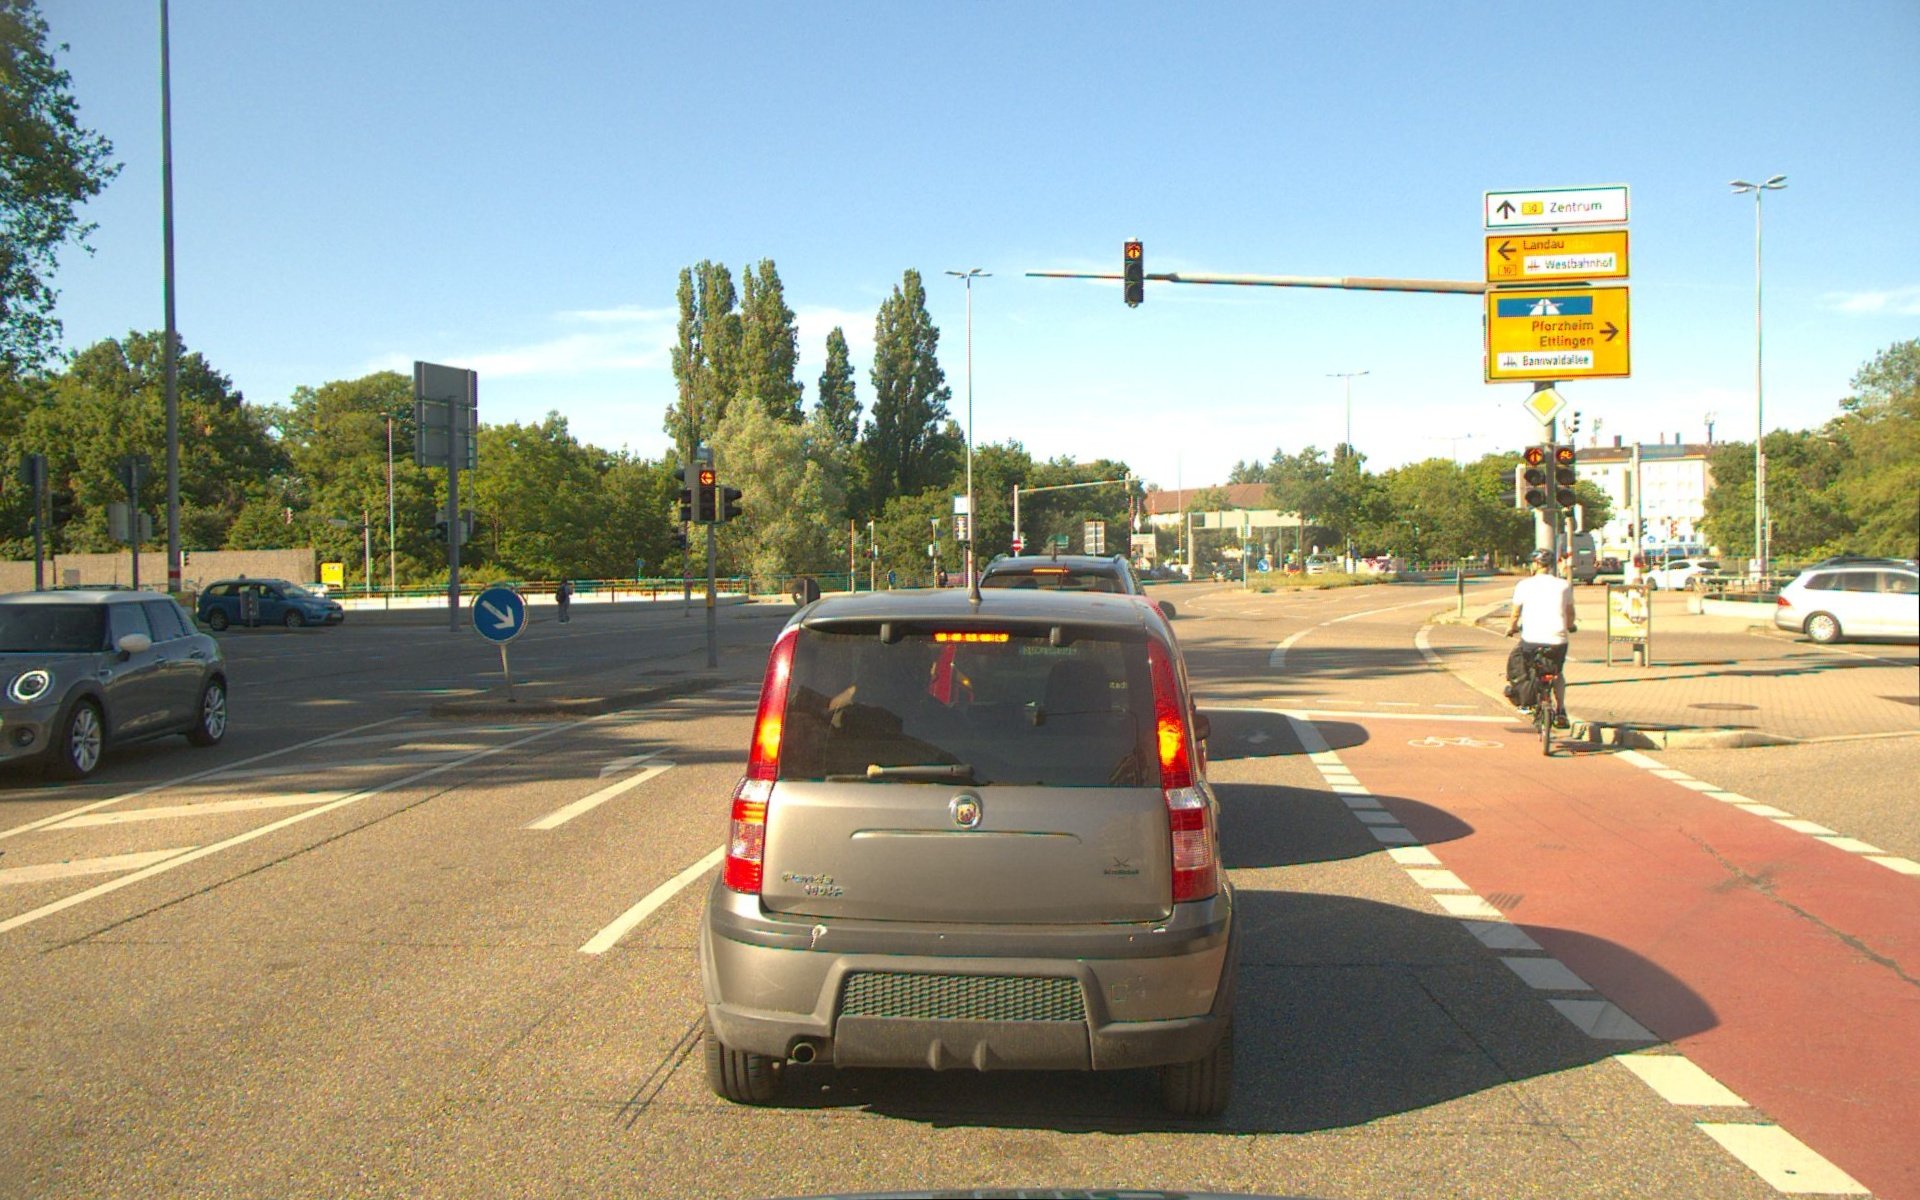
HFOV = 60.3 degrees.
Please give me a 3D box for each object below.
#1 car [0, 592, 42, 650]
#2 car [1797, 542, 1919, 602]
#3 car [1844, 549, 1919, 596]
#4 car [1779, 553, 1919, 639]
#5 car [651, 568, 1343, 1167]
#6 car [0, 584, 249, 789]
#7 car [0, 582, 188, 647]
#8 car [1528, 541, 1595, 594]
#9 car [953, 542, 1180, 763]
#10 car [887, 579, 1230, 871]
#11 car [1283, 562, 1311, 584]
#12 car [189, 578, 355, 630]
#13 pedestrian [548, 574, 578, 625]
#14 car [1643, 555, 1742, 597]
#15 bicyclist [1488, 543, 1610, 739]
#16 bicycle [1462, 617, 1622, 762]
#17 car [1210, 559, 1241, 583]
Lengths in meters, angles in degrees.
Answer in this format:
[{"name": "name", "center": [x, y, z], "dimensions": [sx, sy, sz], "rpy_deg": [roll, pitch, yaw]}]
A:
[{"name": "car", "center": [-26.408, 0.563, 43.265], "dimensions": [4.345, 1.464, 1.826], "rpy_deg": [-1, 1, 22]}, {"name": "car", "center": [33.203, -0.995, 60.940], "dimensions": [3.922, 2.049, 1.991], "rpy_deg": [-1, -2, 38]}, {"name": "car", "center": [38.463, -1.108, 67.275], "dimensions": [1.978, 1.781, 3.948], "rpy_deg": [1, -2, -36]}, {"name": "car", "center": [17.530, -0.092, 30.234], "dimensions": [1.741, 1.519, 4.285], "rpy_deg": [-2, 3, -40]}, {"name": "car", "center": [0.188, 0.670, 6.356], "dimensions": [1.782, 1.515, 4.002], "rpy_deg": [2, 1, 3]}, {"name": "car", "center": [-7.592, 0.618, 13.973], "dimensions": [1.652, 1.482, 3.911], "rpy_deg": [-1, 1, -3]}, {"name": "car", "center": [-21.013, 0.355, 39.918], "dimensions": [4.345, 1.464, 1.826], "rpy_deg": [-1, 1, 22]}, {"name": "car", "center": [32.583, -1.719, 89.675], "dimensions": [2.206, 2.653, 4.888], "rpy_deg": [0, -1, 5]}, {"name": "car", "center": [1.177, 0.392, 16.107], "dimensions": [1.829, 1.821, 4.418], "rpy_deg": [1, 1, 8]}, {"name": "car", "center": [0.589, 0.640, 10.719], "dimensions": [1.782, 1.505, 4.001], "rpy_deg": [1, 0, 2]}, {"name": "car", "center": [33.137, -2.634, 162.481], "dimensions": [1.971, 1.887, 4.887], "rpy_deg": [0, -2, 20]}, {"name": "car", "center": [-20.705, 0.113, 49.856], "dimensions": [4.341, 1.464, 1.828], "rpy_deg": [-1, 1, 13]}, {"name": "pedestrian", "center": [-12.667, -0.001, 52.792], "dimensions": [0.673, 1.565, 1.365], "rpy_deg": [0, -3, -3]}, {"name": "car", "center": [33.959, -1.100, 76.761], "dimensions": [1.965, 1.781, 3.974], "rpy_deg": [1, -2, -21]}, {"name": "bicyclist", "center": [5.479, 0.344, 15.356], "dimensions": [0.786, 1.734, 1.082], "rpy_deg": [2, 2, 35]}, {"name": "bicycle", "center": [5.413, 0.775, 15.275], "dimensions": [0.786, 1.130, 2.394], "rpy_deg": [2, 2, 35]}, {"name": "car", "center": [23.624, -2.554, 146.961], "dimensions": [1.971, 1.887, 4.431], "rpy_deg": [0, -2, 20]}]
